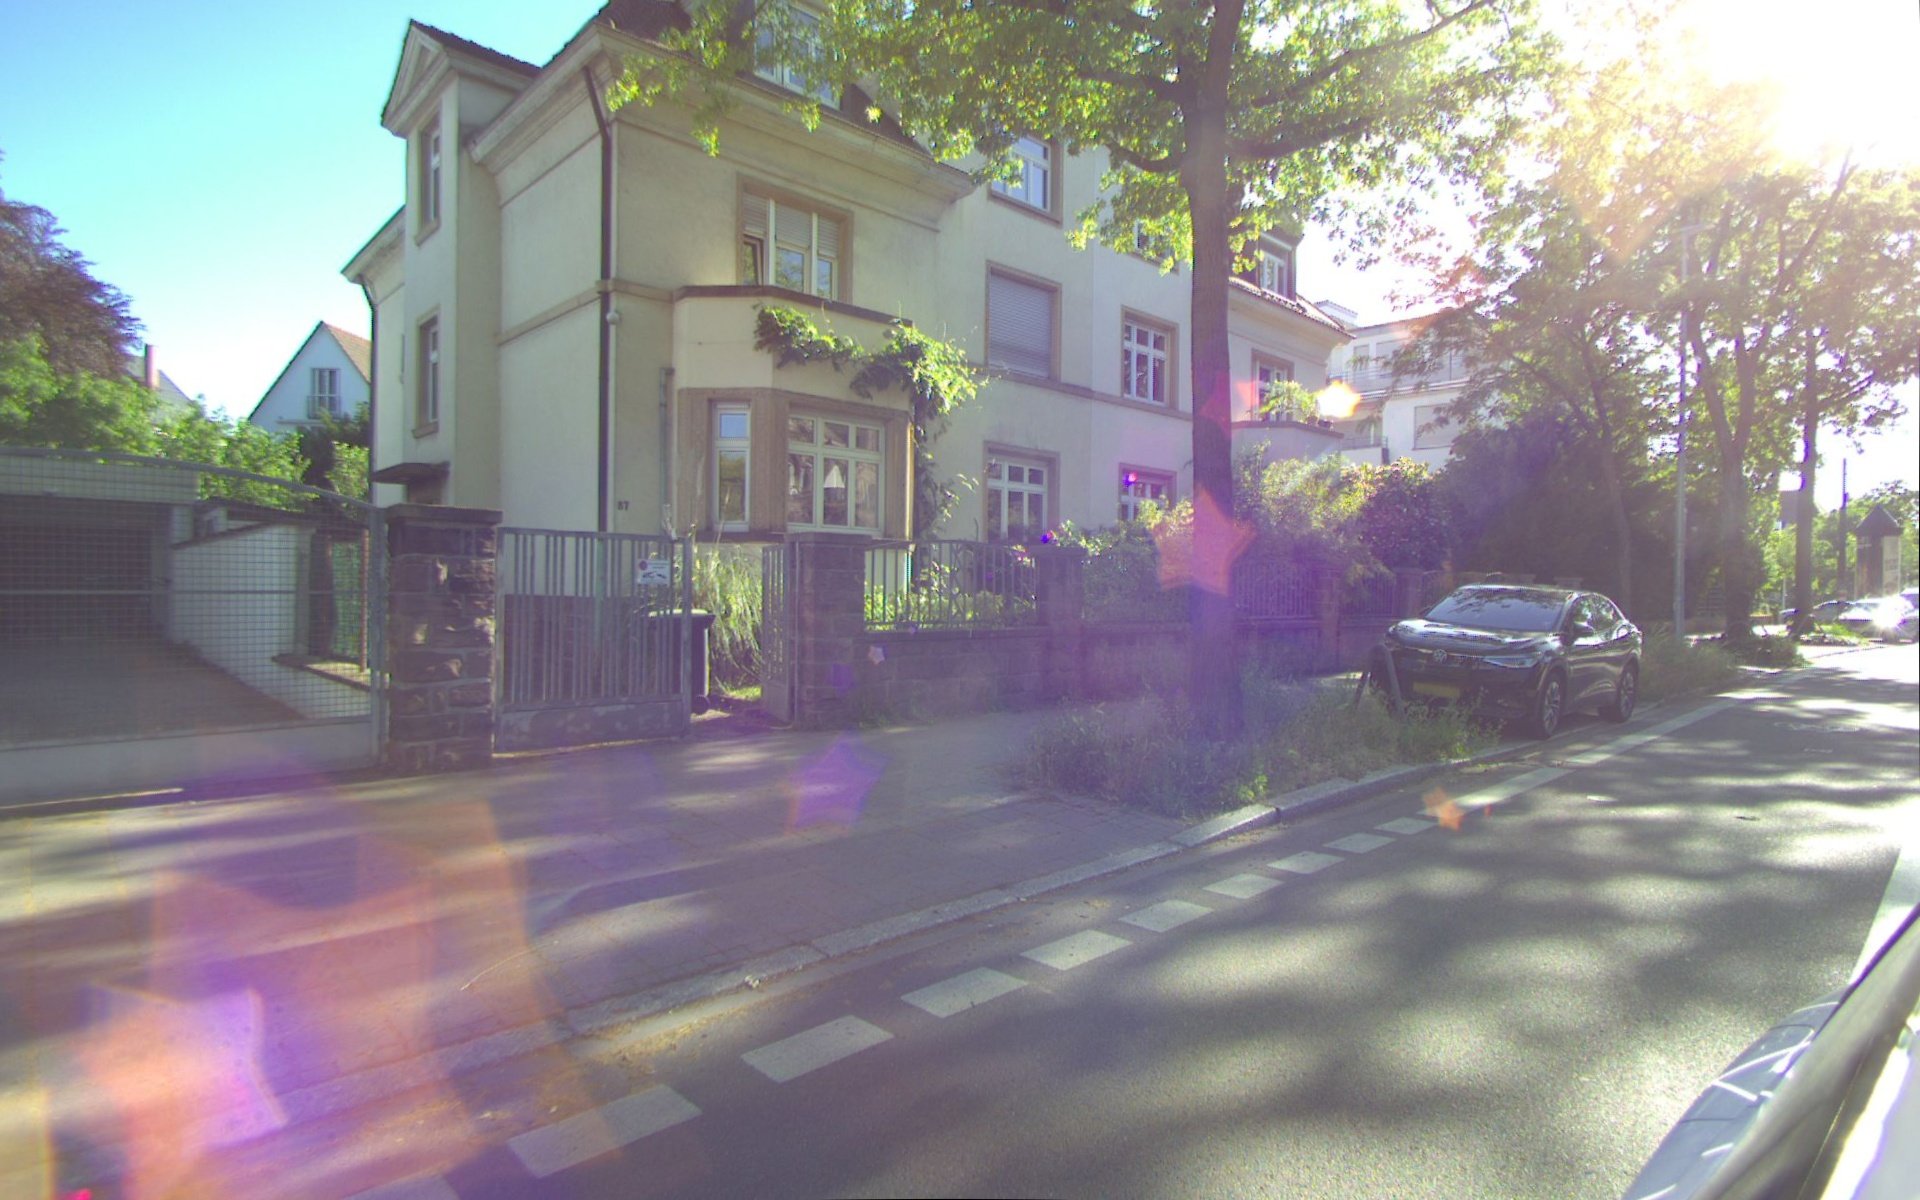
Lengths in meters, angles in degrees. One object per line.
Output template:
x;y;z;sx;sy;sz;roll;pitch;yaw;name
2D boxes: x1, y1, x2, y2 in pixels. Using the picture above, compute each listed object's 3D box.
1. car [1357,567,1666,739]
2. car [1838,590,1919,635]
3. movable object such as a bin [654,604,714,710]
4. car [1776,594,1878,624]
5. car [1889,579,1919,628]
6.712;0.496;12.138;4.186;1.619;1.917;0;4;-42;car
31.514;0.381;34.276;4.181;1.427;1.901;0;1;-38;car
-2.920;0.585;10.673;0.551;1.062;0.676;0;0;-20;movable object such as a bin
46.068;0.455;53.842;1.784;1.459;3.990;0;1;-44;car
36.674;0.127;37.858;4.580;1.808;1.903;0;1;-35;car
